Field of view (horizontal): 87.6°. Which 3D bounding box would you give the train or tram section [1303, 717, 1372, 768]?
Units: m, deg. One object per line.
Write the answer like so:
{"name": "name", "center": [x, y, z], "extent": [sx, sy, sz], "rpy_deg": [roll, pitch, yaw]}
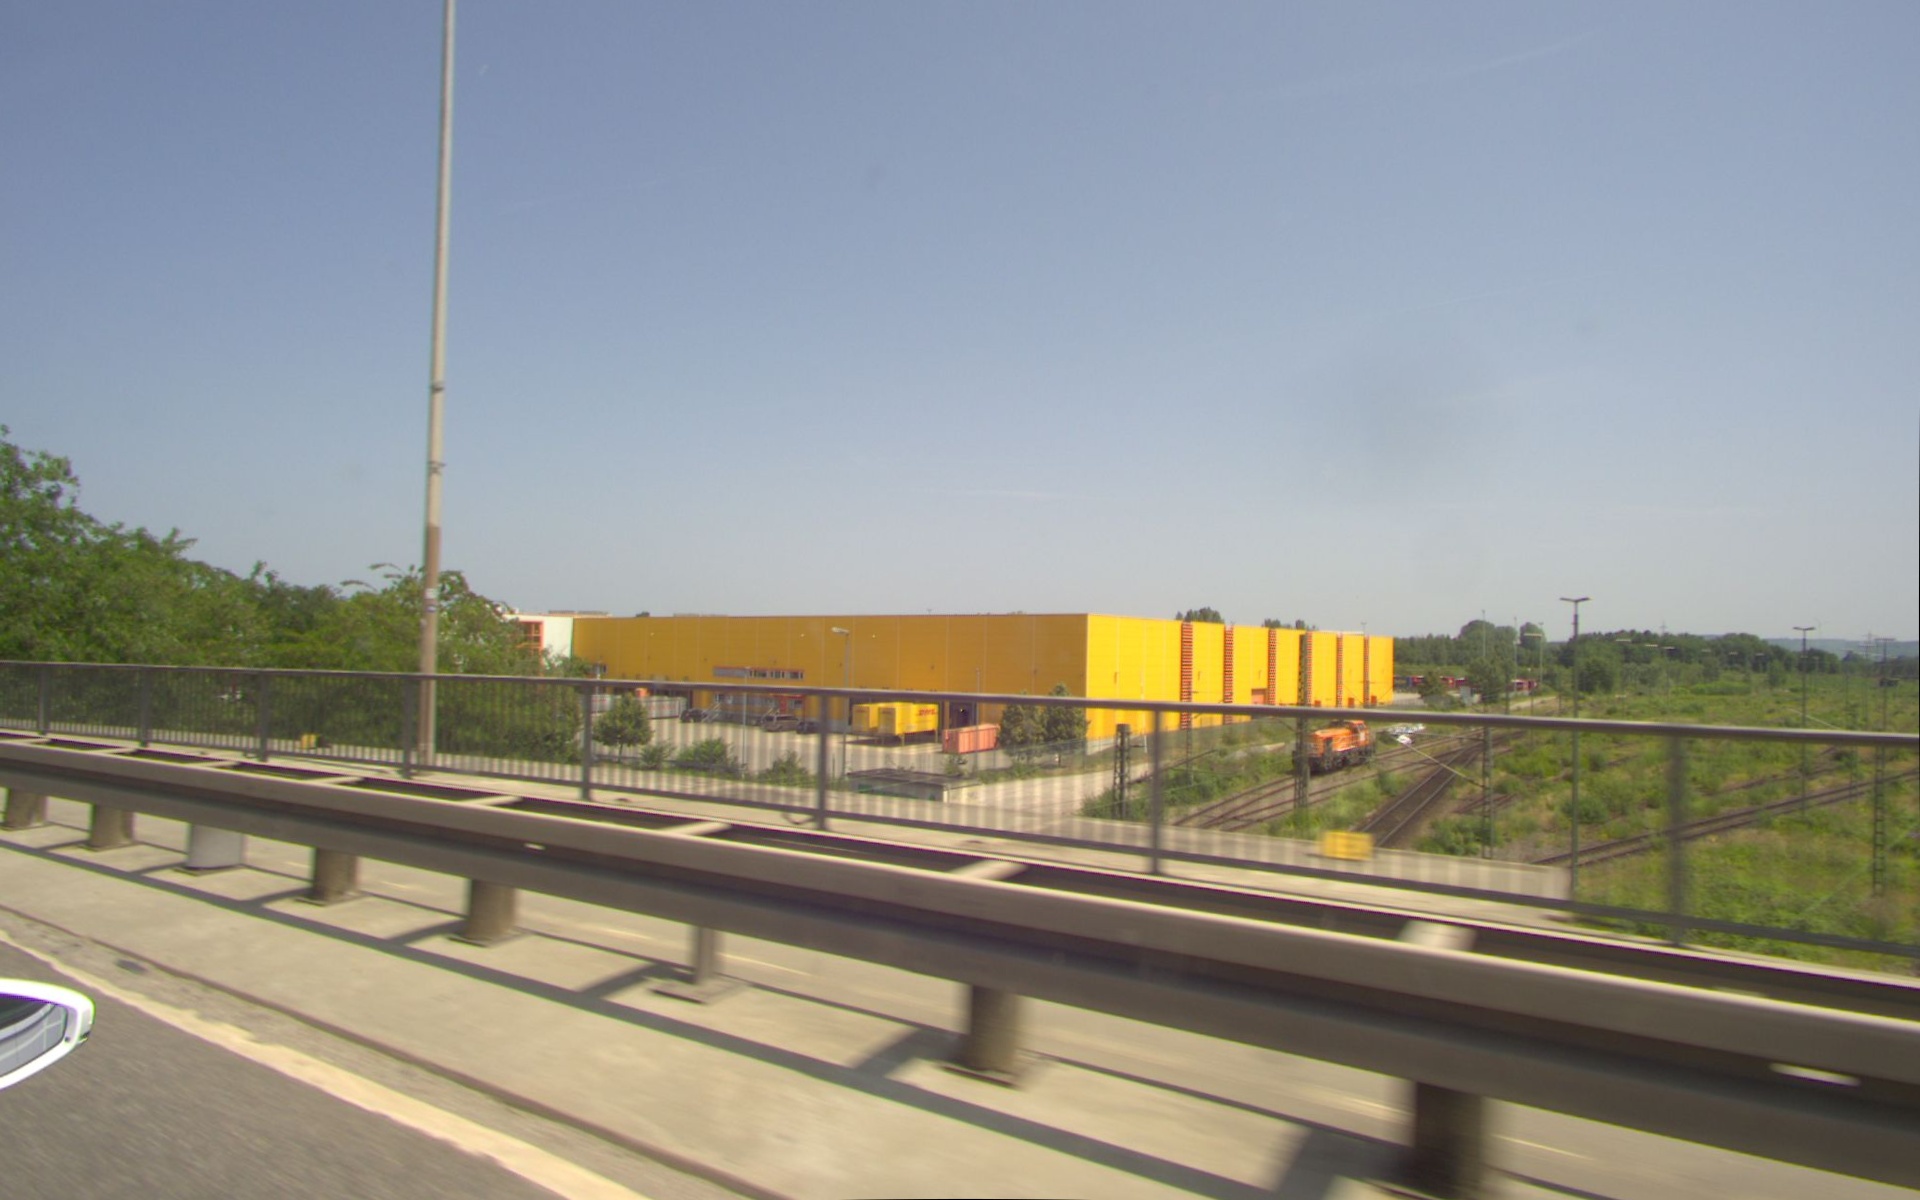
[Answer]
{"name": "train or tram section", "center": [33.756, 12.513, 89.059], "extent": [2.210, 3.734, 13.933], "rpy_deg": [0, -4, 36]}
